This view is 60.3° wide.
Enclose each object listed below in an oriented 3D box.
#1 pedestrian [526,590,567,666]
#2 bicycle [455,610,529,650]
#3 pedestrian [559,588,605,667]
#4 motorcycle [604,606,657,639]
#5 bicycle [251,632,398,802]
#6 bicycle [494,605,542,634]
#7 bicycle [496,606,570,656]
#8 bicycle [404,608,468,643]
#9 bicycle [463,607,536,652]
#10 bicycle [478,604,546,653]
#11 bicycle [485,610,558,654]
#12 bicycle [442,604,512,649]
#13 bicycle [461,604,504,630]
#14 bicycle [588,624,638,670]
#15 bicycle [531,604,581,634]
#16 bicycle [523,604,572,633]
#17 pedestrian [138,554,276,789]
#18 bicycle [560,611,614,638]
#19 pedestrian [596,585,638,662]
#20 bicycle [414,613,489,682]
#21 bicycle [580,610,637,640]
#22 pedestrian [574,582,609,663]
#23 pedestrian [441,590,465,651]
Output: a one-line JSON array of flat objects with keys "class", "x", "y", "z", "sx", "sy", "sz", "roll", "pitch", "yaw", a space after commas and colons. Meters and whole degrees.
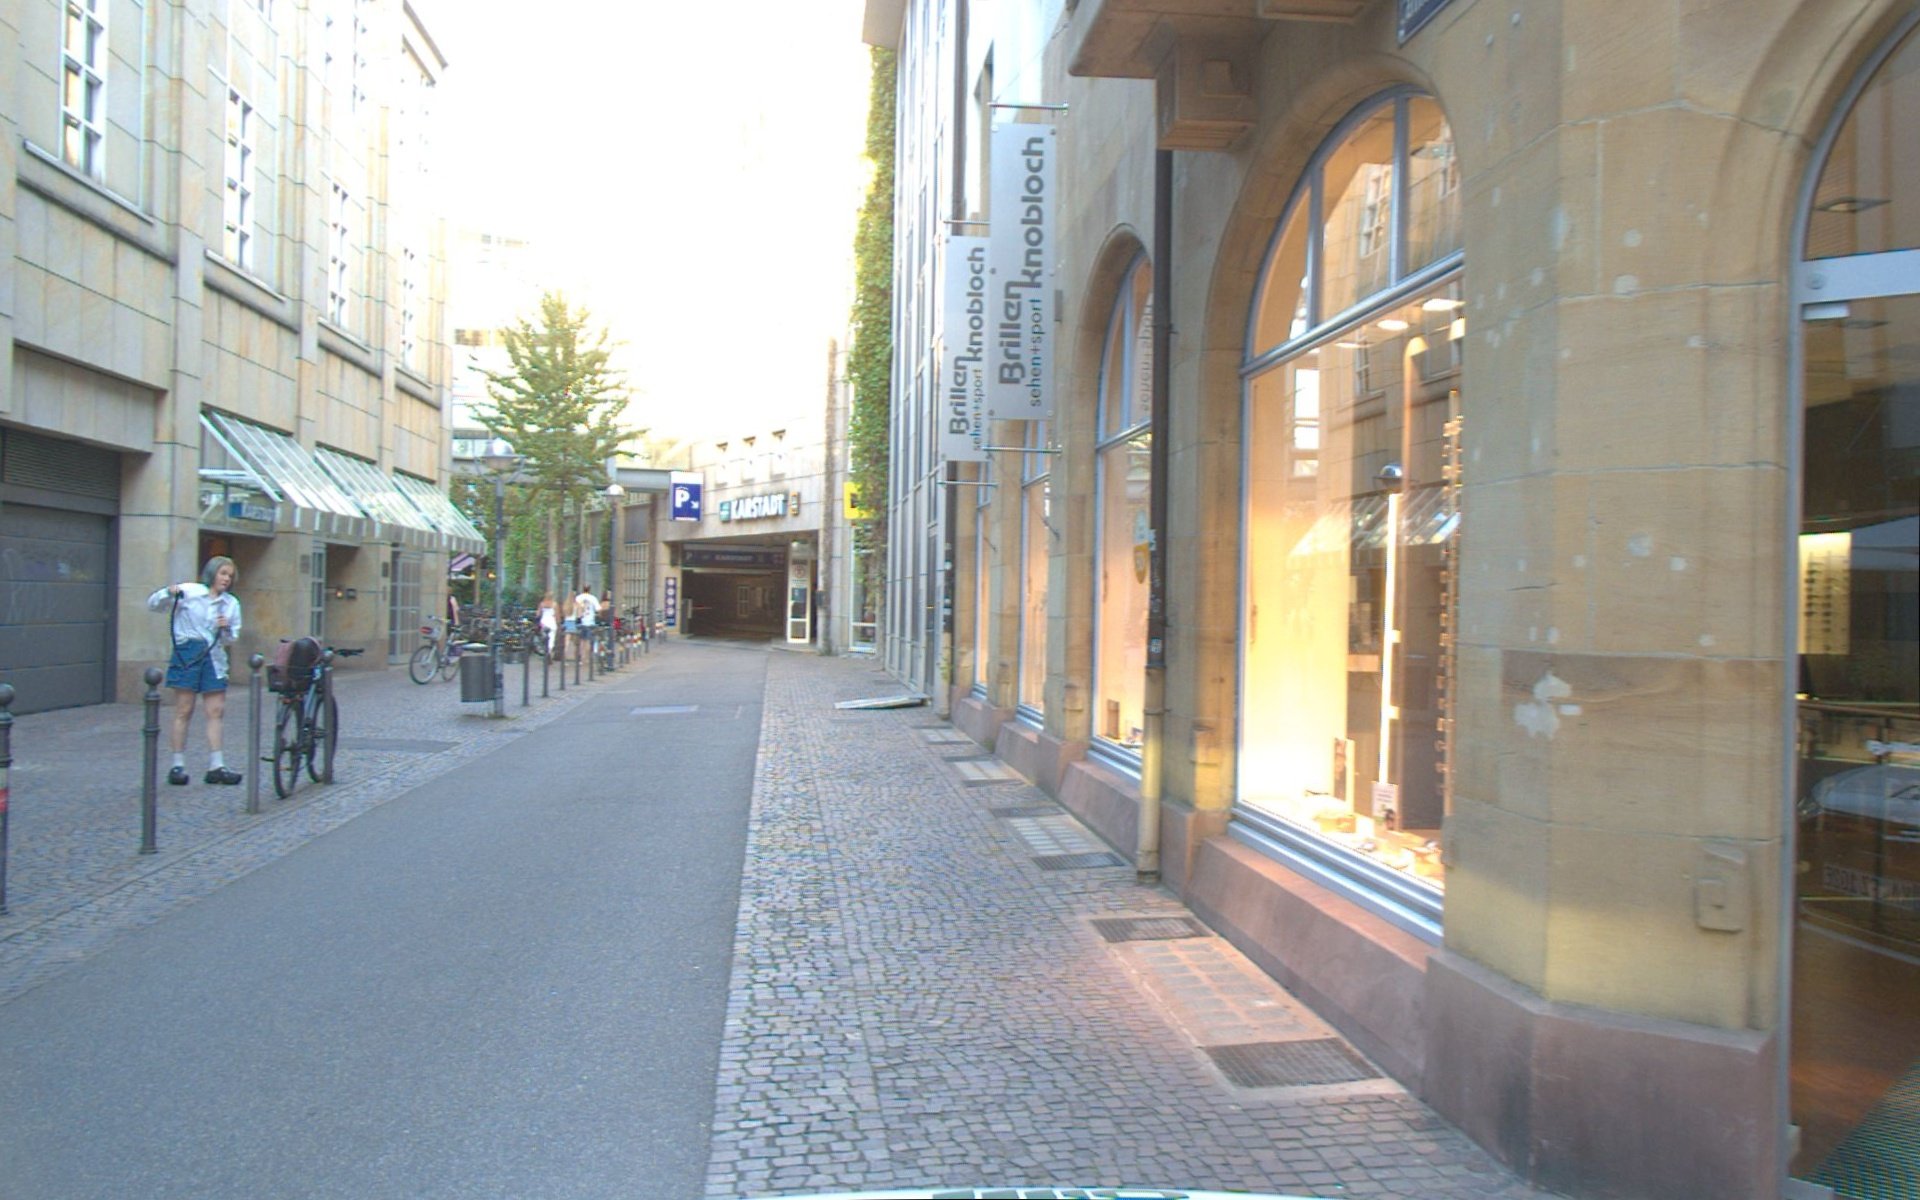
[{"class": "pedestrian", "x": -9.318, "y": 0.625, "z": 37.319, "sx": 0.660, "sy": 1.693, "sz": 0.860, "roll": 1, "pitch": 0, "yaw": 2}, {"class": "bicycle", "x": -12.818, "y": 0.814, "z": 45.328, "sx": 1.874, "sy": 1.070, "sz": 0.529, "roll": 0, "pitch": 0, "yaw": -30}, {"class": "pedestrian", "x": -8.533, "y": 0.613, "z": 37.352, "sx": 0.790, "sy": 1.760, "sz": 0.948, "roll": 1, "pitch": 0, "yaw": -1}, {"class": "motorcycle", "x": -10.791, "y": 0.739, "z": 54.152, "sx": 1.643, "sy": 1.069, "sz": 0.459, "roll": 0, "pitch": 0, "yaw": -28}, {"class": "bicycle", "x": -4.928, "y": 0.869, "z": 12.940, "sx": 0.522, "sy": 1.174, "sz": 1.912, "roll": 2, "pitch": 0, "yaw": -5}, {"class": "bicycle", "x": -17.603, "y": 0.779, "z": 65.895, "sx": 1.752, "sy": 1.134, "sz": 0.538, "roll": 0, "pitch": 0, "yaw": -28}, {"class": "bicycle", "x": -10.818, "y": 0.775, "z": 41.908, "sx": 1.747, "sy": 1.252, "sz": 0.529, "roll": 0, "pitch": 0, "yaw": -30}, {"class": "bicycle", "x": -16.201, "y": 0.782, "z": 51.150, "sx": 1.805, "sy": 1.061, "sz": 0.529, "roll": 0, "pitch": 0, "yaw": -30}, {"class": "bicycle", "x": -12.483, "y": 0.782, "z": 44.838, "sx": 1.852, "sy": 1.198, "sz": 0.529, "roll": 0, "pitch": 0, "yaw": -30}, {"class": "bicycle", "x": -11.666, "y": 0.732, "z": 43.085, "sx": 1.636, "sy": 1.252, "sz": 0.529, "roll": 0, "pitch": 0, "yaw": -30}, {"class": "bicycle", "x": -11.660, "y": 0.844, "z": 43.983, "sx": 1.817, "sy": 1.142, "sz": 0.529, "roll": 0, "pitch": 0, "yaw": -30}, {"class": "bicycle", "x": -13.402, "y": 0.725, "z": 45.932, "sx": 1.813, "sy": 1.246, "sz": 0.529, "roll": 0, "pitch": 0, "yaw": -30}, {"class": "bicycle", "x": -20.591, "y": 0.725, "z": 71.324, "sx": 1.750, "sy": 1.134, "sz": 0.538, "roll": 0, "pitch": 0, "yaw": -25}, {"class": "bicycle", "x": -7.504, "y": 1.002, "z": 35.841, "sx": 0.482, "sy": 0.955, "sz": 1.660, "roll": 2, "pitch": 0, "yaw": 8}, {"class": "bicycle", "x": -15.351, "y": 0.731, "z": 62.846, "sx": 1.752, "sy": 1.134, "sz": 0.538, "roll": 0, "pitch": 0, "yaw": -28}, {"class": "bicycle", "x": -15.928, "y": 0.713, "z": 63.840, "sx": 1.752, "sy": 1.134, "sz": 0.538, "roll": 0, "pitch": 0, "yaw": -28}, {"class": "pedestrian", "x": -5.789, "y": 0.541, "z": 12.753, "sx": 0.753, "sy": 1.748, "sz": 0.591, "roll": 2, "pitch": 0, "yaw": -7}, {"class": "bicycle", "x": -12.710, "y": 0.837, "z": 56.398, "sx": 1.752, "sy": 0.920, "sz": 0.459, "roll": 0, "pitch": 0, "yaw": -28}, {"class": "pedestrian", "x": -8.368, "y": 0.565, "z": 40.370, "sx": 0.768, "sy": 1.826, "sz": 0.972, "roll": 0, "pitch": 1, "yaw": 2}, {"class": "bicycle", "x": -8.833, "y": 0.806, "z": 28.815, "sx": 0.510, "sy": 1.158, "sz": 1.766, "roll": 0, "pitch": 0, "yaw": 9}, {"class": "bicycle", "x": -11.833, "y": 0.835, "z": 55.654, "sx": 1.826, "sy": 0.999, "sz": 0.459, "roll": 0, "pitch": 0, "yaw": -28}, {"class": "pedestrian", "x": -8.629, "y": 0.524, "z": 38.756, "sx": 0.728, "sy": 1.854, "sz": 0.876, "roll": 0, "pitch": 0, "yaw": -8}, {"class": "pedestrian", "x": -12.595, "y": 0.503, "z": 41.096, "sx": 0.469, "sy": 1.497, "sz": 0.411, "roll": 1, "pitch": 0, "yaw": -29}]
